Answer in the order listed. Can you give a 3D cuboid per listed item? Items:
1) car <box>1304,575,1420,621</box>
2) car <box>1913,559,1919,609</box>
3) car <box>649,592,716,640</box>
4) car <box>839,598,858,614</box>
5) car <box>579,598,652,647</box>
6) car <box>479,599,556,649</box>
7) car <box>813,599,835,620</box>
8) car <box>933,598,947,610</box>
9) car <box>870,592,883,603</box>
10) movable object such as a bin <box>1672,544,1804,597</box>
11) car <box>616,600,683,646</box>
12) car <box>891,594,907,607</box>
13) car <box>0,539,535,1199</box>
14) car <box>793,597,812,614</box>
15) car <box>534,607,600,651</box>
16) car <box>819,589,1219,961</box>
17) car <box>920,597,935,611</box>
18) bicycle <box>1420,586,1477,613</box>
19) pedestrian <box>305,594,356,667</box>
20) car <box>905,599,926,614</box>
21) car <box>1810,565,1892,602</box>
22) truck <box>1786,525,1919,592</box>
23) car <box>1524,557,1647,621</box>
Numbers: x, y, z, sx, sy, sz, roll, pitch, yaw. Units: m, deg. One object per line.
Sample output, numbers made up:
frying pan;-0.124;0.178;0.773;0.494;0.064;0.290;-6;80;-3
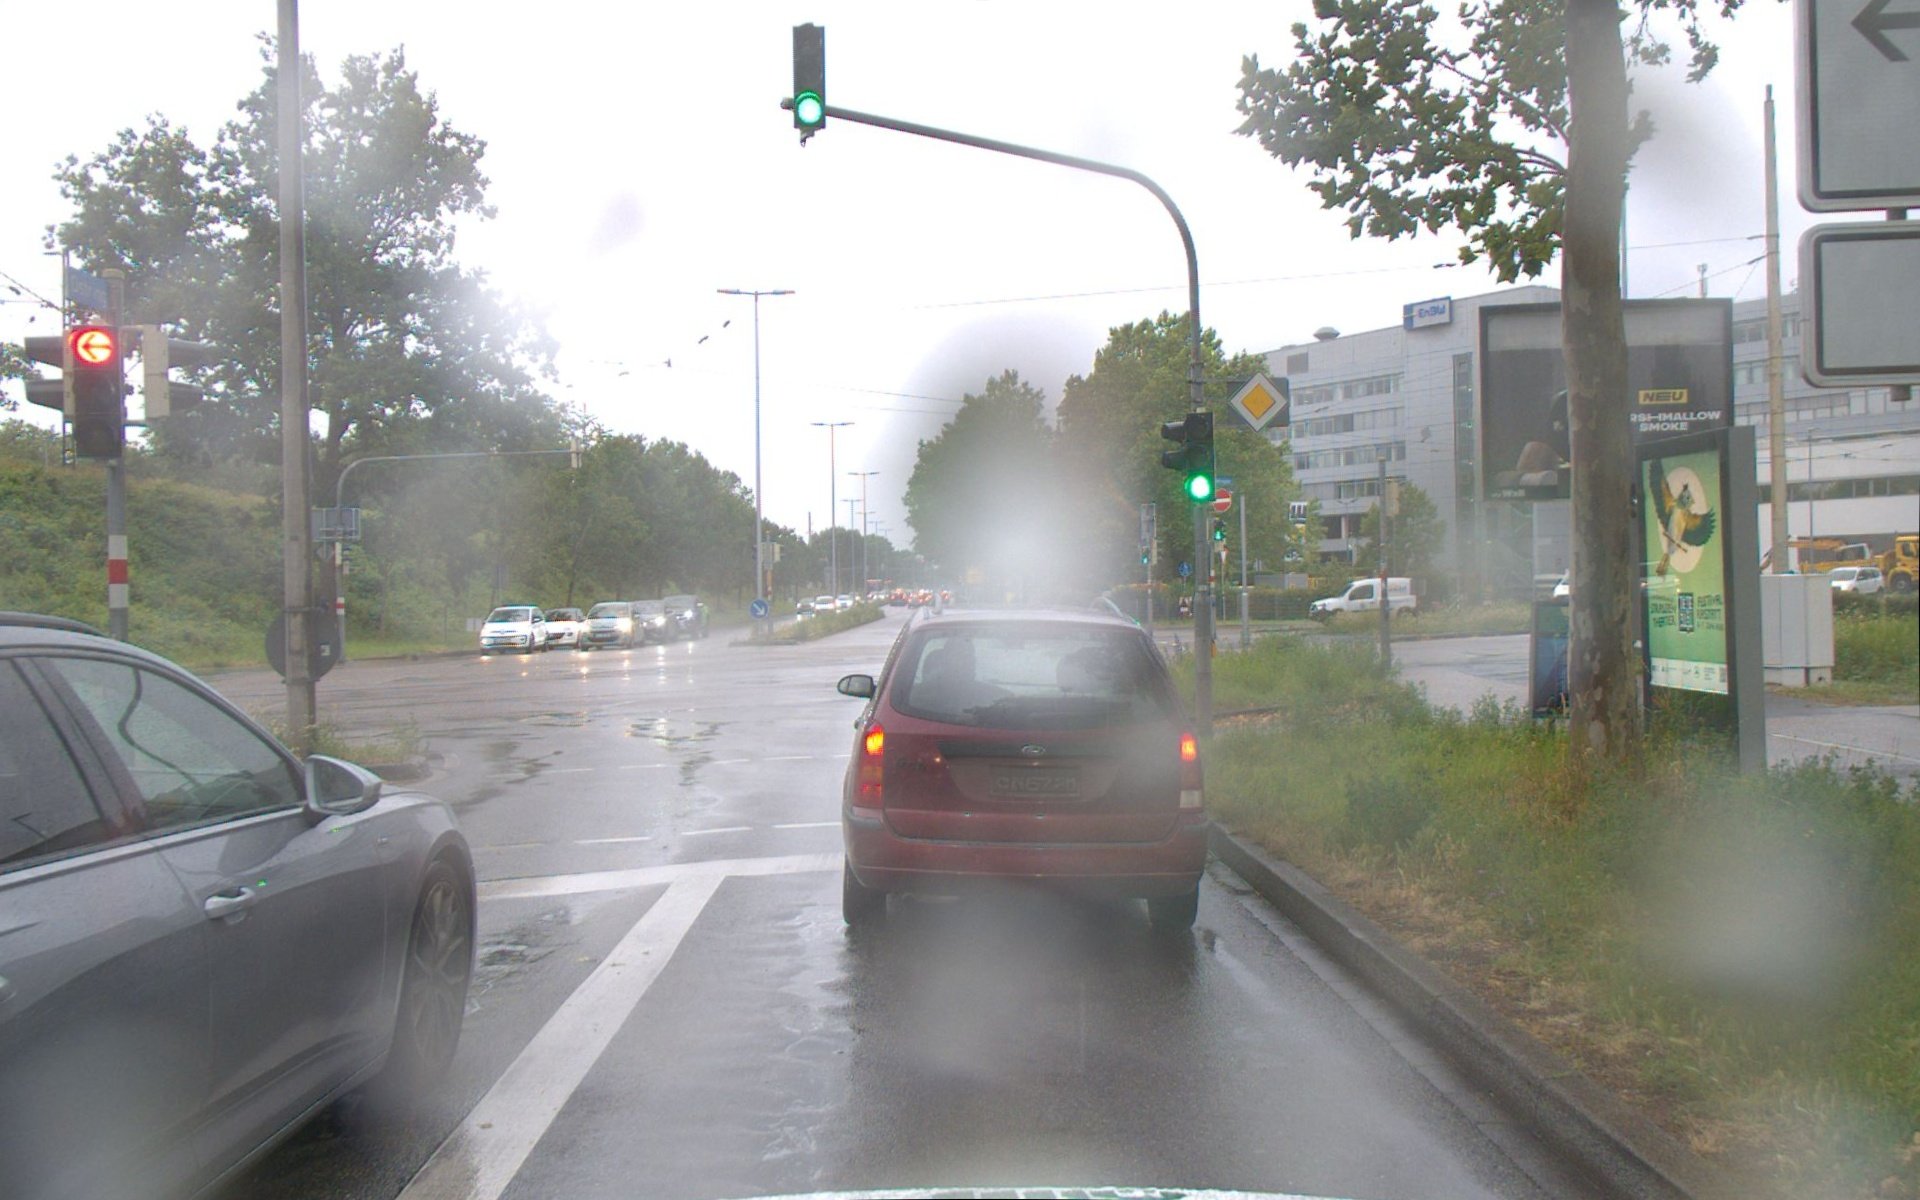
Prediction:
car;15.782;-0.081;64.992;4.143;1.756;1.741;0;0;-1
car;30.964;-0.478;50.552;3.768;1.517;1.660;0;0;-33
car;-11.620;0.636;69.672;2.024;1.851;5.539;-2;0;-2
car;-12.678;0.671;187.780;1.923;1.732;4.283;-2;0;-1
car;-11.297;0.723;54.427;1.605;1.499;3.963;-2;0;-2
car;-14.232;0.748;53.327;1.605;1.478;3.785;-2;0;-3
car;-11.705;0.805;142.229;1.709;1.732;4.281;-3;0;-4
car;-2.551;0.494;209.977;1.637;1.554;3.846;-1;0;0
car;-12.816;-0.417;253.855;1.923;1.625;4.283;-2;0;-1
movable object such as a bin;48.207;-1.808;102.587;3.293;3.048;6.634;-2;0;-36
car;-11.531;0.842;61.696;1.727;1.614;4.811;-2;-1;-2
car;-7.400;0.027;201.008;1.663;1.554;3.846;-1;0;1
car;-2.291;0.695;3.344;1.734;1.601;4.819;1;0;-2
car;-15.976;0.530;167.949;1.708;1.732;4.282;1;0;-2
car;-14.142;1.022;59.713;1.558;1.428;3.821;-2;0;-2
car;0.187;0.710;8.592;1.609;1.490;3.731;1;0;-2
car;-3.768;0.463;192.467;1.663;1.554;3.846;-1;0;0
bicycle;20.747;-0.004;70.237;2.258;1.064;0.849;-2;0;19
pedestrian;-16.706;0.799;43.934;1.083;1.879;1.127;-1;0;-13
car;-4.956;0.721;183.618;2.103;1.554;4.193;-1;0;1
car;42.273;-0.779;78.432;4.334;1.649;1.753;-1;0;-37
truck;52.670;-2.379;95.985;3.292;3.568;7.789;-2;0;-36
car;22.256;-0.390;58.784;4.641;2.162;1.973;-1;-1;-38
